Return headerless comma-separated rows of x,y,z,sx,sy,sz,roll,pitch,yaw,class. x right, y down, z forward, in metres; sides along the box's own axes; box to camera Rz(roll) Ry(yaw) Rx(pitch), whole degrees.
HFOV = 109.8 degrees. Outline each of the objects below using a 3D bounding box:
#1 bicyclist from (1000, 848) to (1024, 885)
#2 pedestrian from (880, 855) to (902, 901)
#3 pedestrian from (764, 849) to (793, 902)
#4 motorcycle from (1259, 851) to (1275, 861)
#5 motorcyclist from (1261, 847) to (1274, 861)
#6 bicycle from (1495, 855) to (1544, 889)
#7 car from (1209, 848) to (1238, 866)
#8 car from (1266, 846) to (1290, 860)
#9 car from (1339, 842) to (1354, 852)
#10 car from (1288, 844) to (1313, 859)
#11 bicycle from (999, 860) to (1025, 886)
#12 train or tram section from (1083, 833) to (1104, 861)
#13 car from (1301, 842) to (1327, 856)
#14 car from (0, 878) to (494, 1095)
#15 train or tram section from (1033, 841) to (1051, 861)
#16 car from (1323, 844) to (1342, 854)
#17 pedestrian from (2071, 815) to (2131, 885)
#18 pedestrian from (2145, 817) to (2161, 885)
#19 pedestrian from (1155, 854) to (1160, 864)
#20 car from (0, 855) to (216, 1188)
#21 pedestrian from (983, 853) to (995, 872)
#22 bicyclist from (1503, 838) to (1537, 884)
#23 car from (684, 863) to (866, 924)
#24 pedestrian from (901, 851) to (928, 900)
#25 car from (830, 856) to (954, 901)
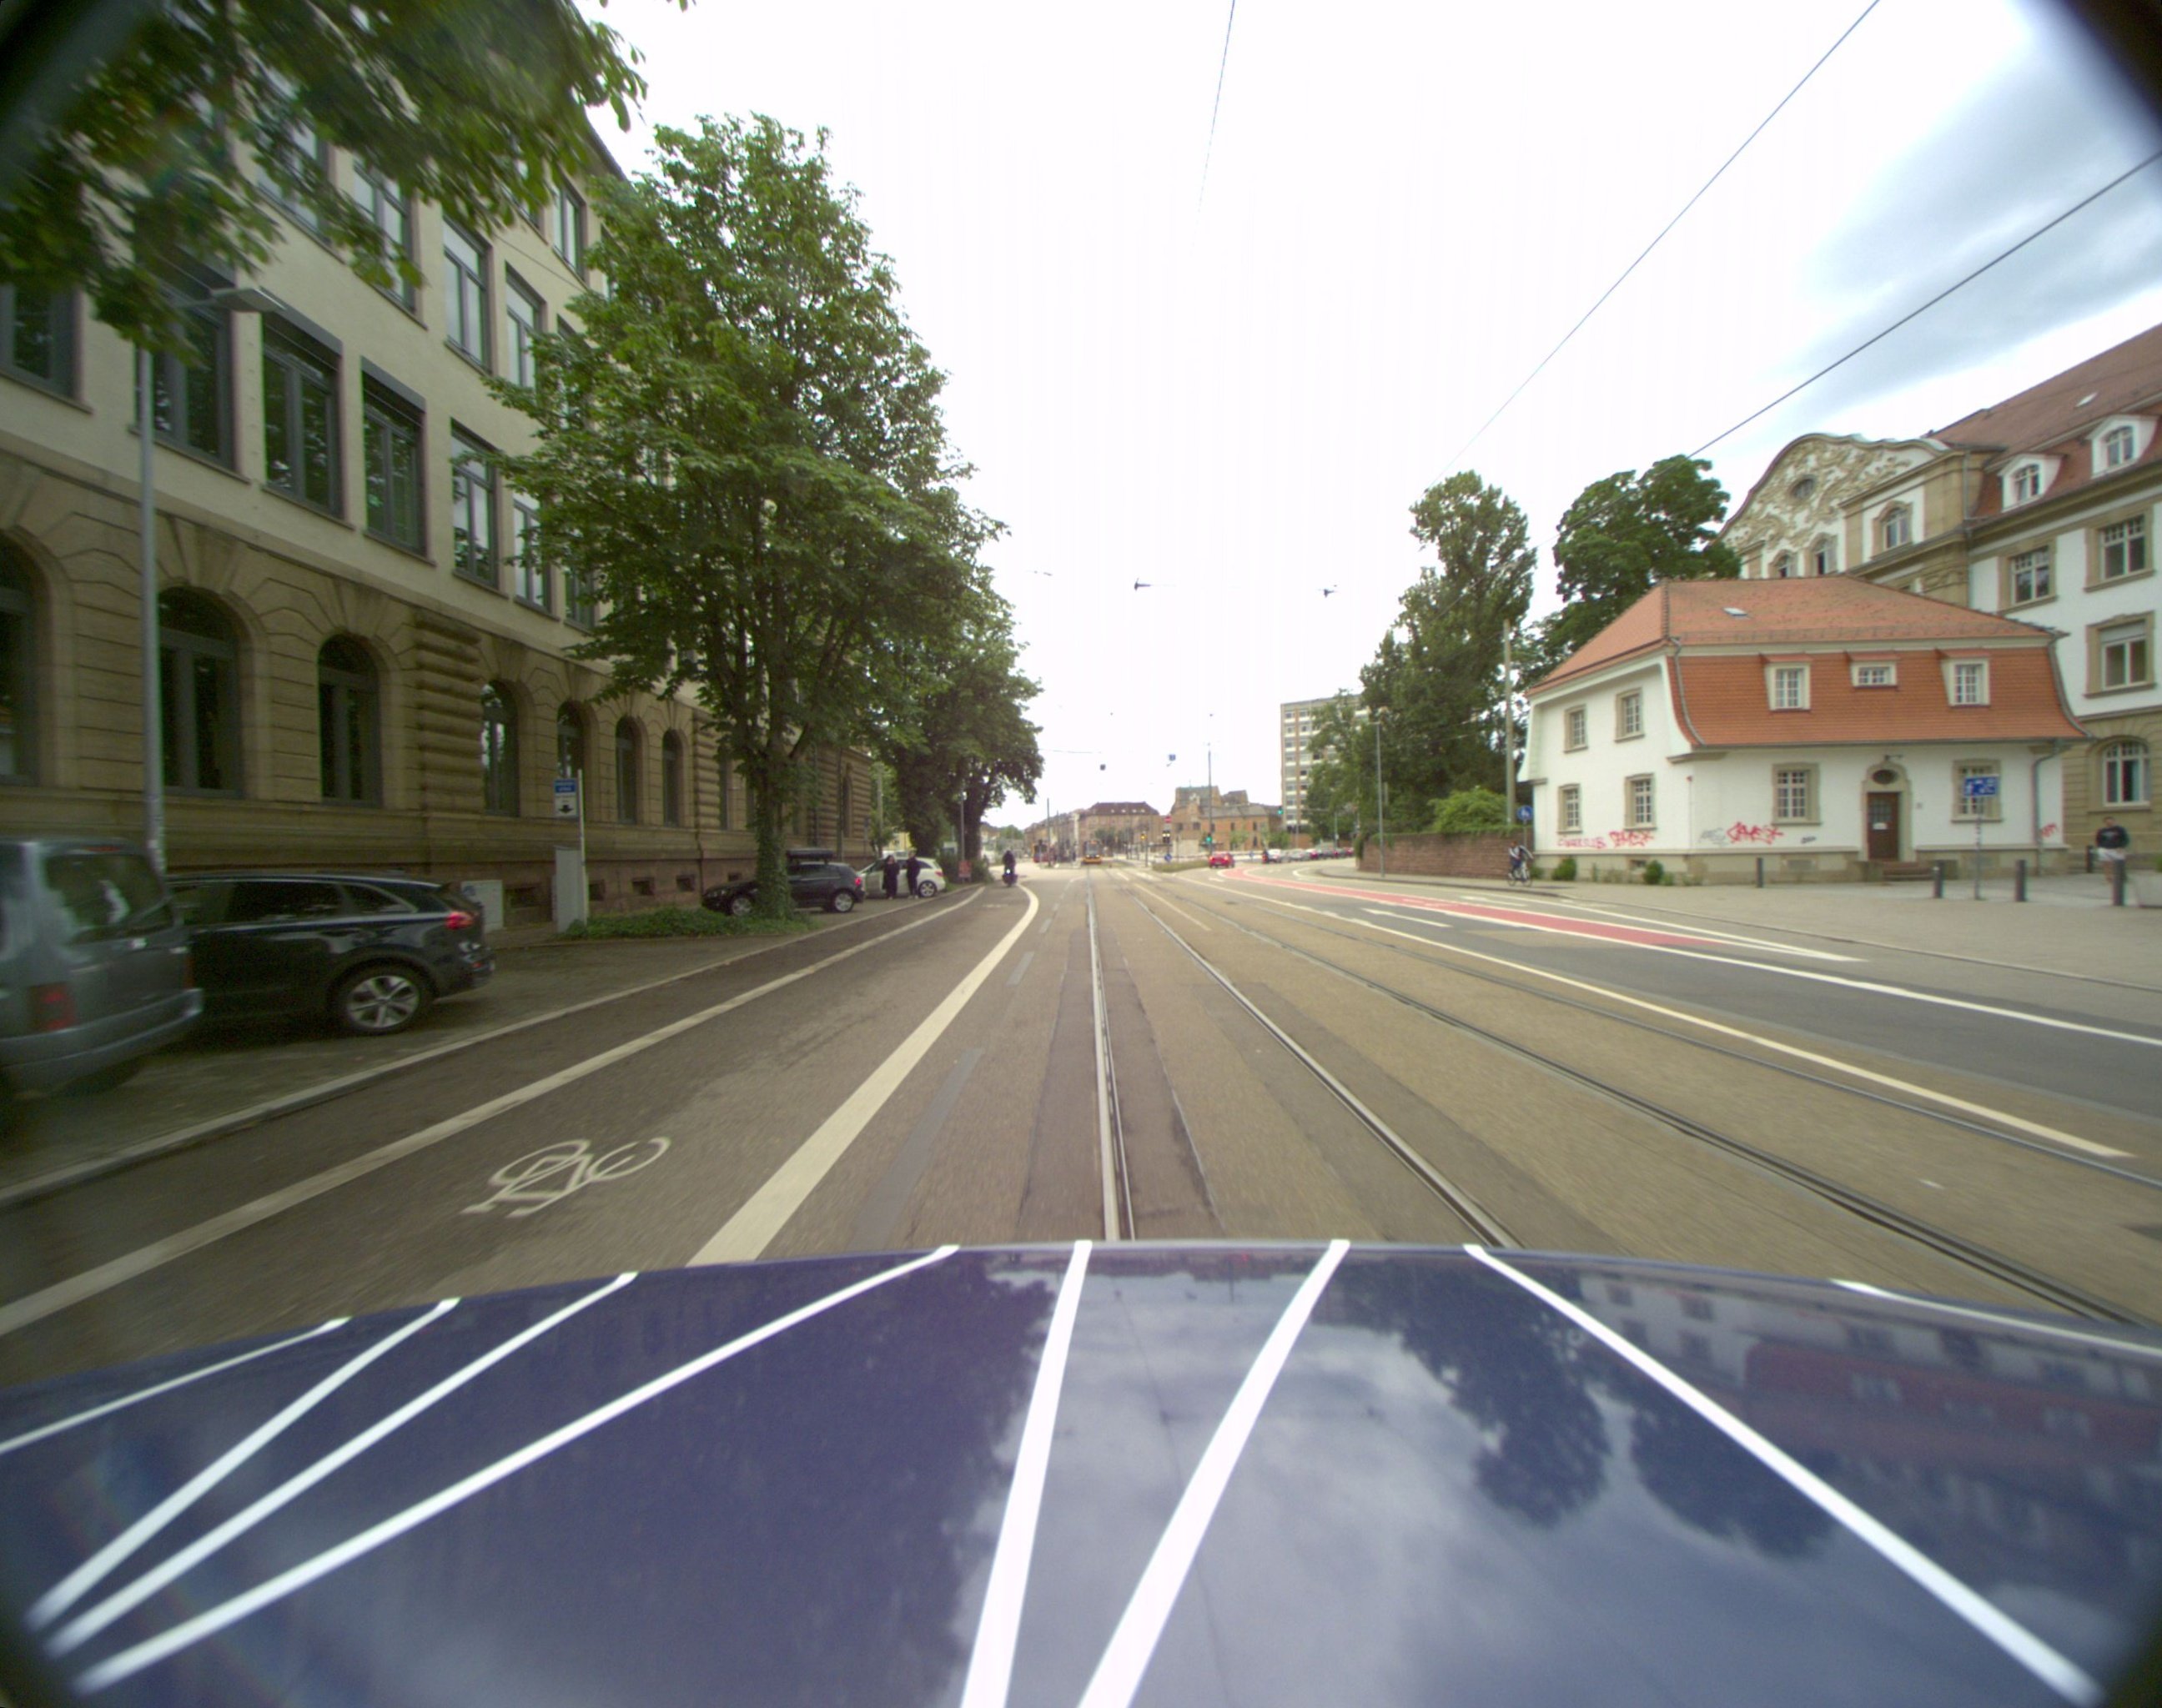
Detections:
-3.454,0.640,37.965,0.881,1.811,1.479,-2,-1,5,bicyclist
-6.845,0.848,27.424,0.645,1.616,0.591,-2,1,-23,pedestrian
-10.583,0.736,26.603,0.680,1.828,0.751,1,1,0,pedestrian
19.336,0.200,78.959,1.053,1.063,2.652,-1,0,24,motorcycle
19.511,-0.005,79.304,1.074,1.477,1.253,-1,1,24,motorcyclist
16.571,0.661,28.746,0.776,1.205,1.869,-1,1,1,bicycle
12.936,0.239,68.633,1.757,1.491,4.006,0,1,23,car
21.435,-0.100,82.592,1.491,1.500,3.476,-1,1,34,car
36.489,-0.984,104.436,1.412,1.324,3.316,-1,1,29,car
25.684,-0.313,88.869,1.682,1.641,3.988,-1,1,35,car
-3.415,0.964,37.907,0.853,1.234,2.311,-2,-1,5,bicycle
1.663,-0.930,103.888,2.631,3.660,5.984,-1,1,-1,train or tram section
28.688,-0.588,93.621,1.782,1.602,4.332,-1,1,35,car
-8.026,1.062,7.004,4.007,1.530,1.860,-1,0,-34,car
-6.180,-0.496,121.272,2.610,2.936,4.965,-1,1,-2,train or tram section
32.558,-0.669,98.467,1.420,1.164,3.077,-1,1,37,car
28.043,-0.124,20.896,0.690,1.875,0.754,-2,3,-18,pedestrian
28.718,-0.074,19.950,0.690,1.771,0.641,-2,4,-17,pedestrian
8.582,0.540,85.493,0.544,1.050,0.637,-1,1,9,pedestrian
-7.849,0.937,4.057,3.846,1.810,1.803,-1,0,-29,car
-8.313,0.749,68.818,0.917,1.699,1.157,-2,1,-11,pedestrian
16.561,0.267,28.692,0.776,1.681,0.869,-1,1,1,bicyclist
-8.331,0.999,20.795,4.338,1.394,1.750,-1,1,-32,car
-6.107,0.785,27.859,0.612,1.740,0.688,-1,1,43,pedestrian
-7.181,0.885,28.856,4.330,1.542,1.747,-1,0,-22,car
